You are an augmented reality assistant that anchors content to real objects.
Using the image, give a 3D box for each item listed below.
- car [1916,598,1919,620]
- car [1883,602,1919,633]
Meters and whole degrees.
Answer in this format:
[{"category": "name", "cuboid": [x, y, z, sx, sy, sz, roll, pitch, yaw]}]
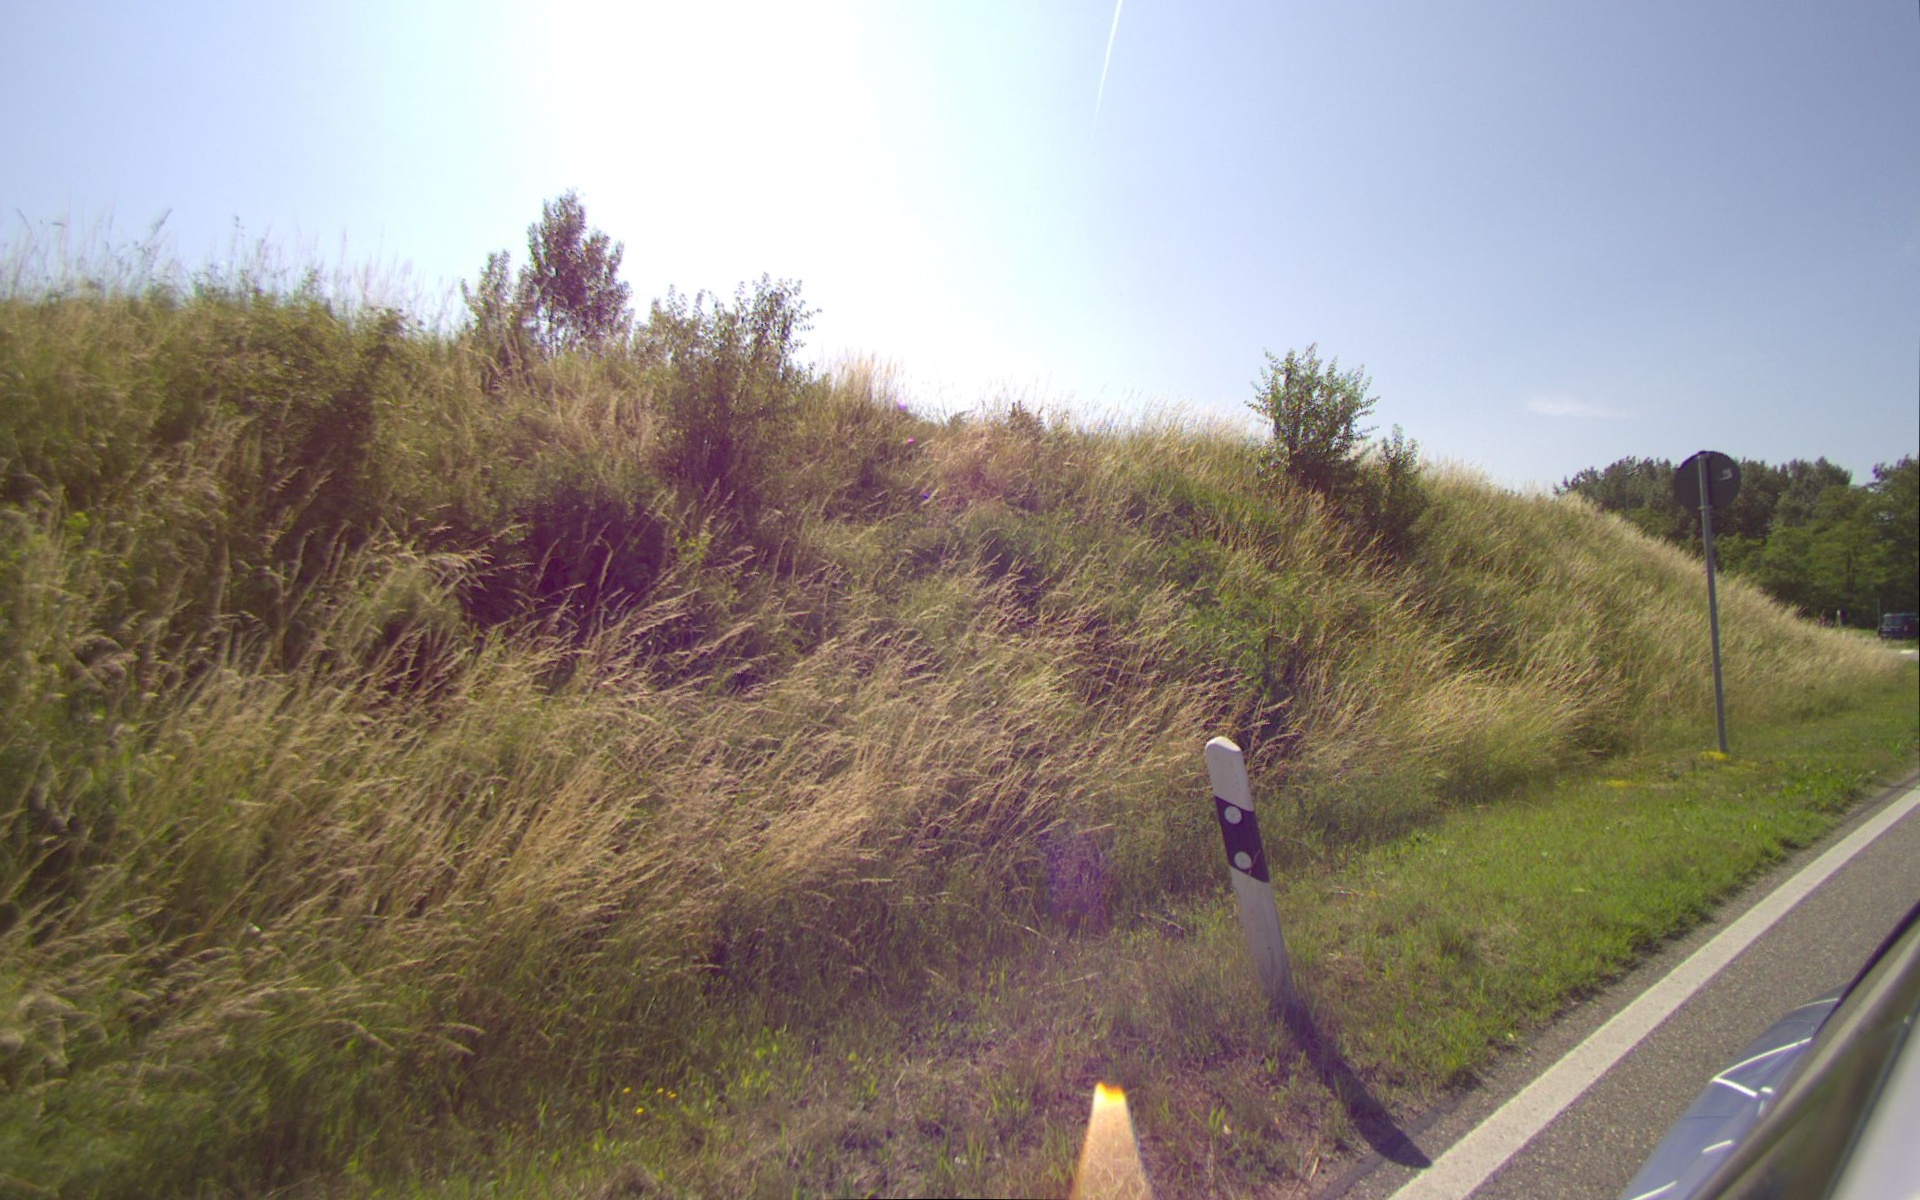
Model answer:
[{"category": "car", "cuboid": [64.835, 0.603, 66.258, 1.795, 1.509, 4.639, -2, -1, 25]}, {"category": "car", "cuboid": [53.124, 0.913, 55.300, 4.261, 1.677, 1.710, -1, -2, -12]}]
